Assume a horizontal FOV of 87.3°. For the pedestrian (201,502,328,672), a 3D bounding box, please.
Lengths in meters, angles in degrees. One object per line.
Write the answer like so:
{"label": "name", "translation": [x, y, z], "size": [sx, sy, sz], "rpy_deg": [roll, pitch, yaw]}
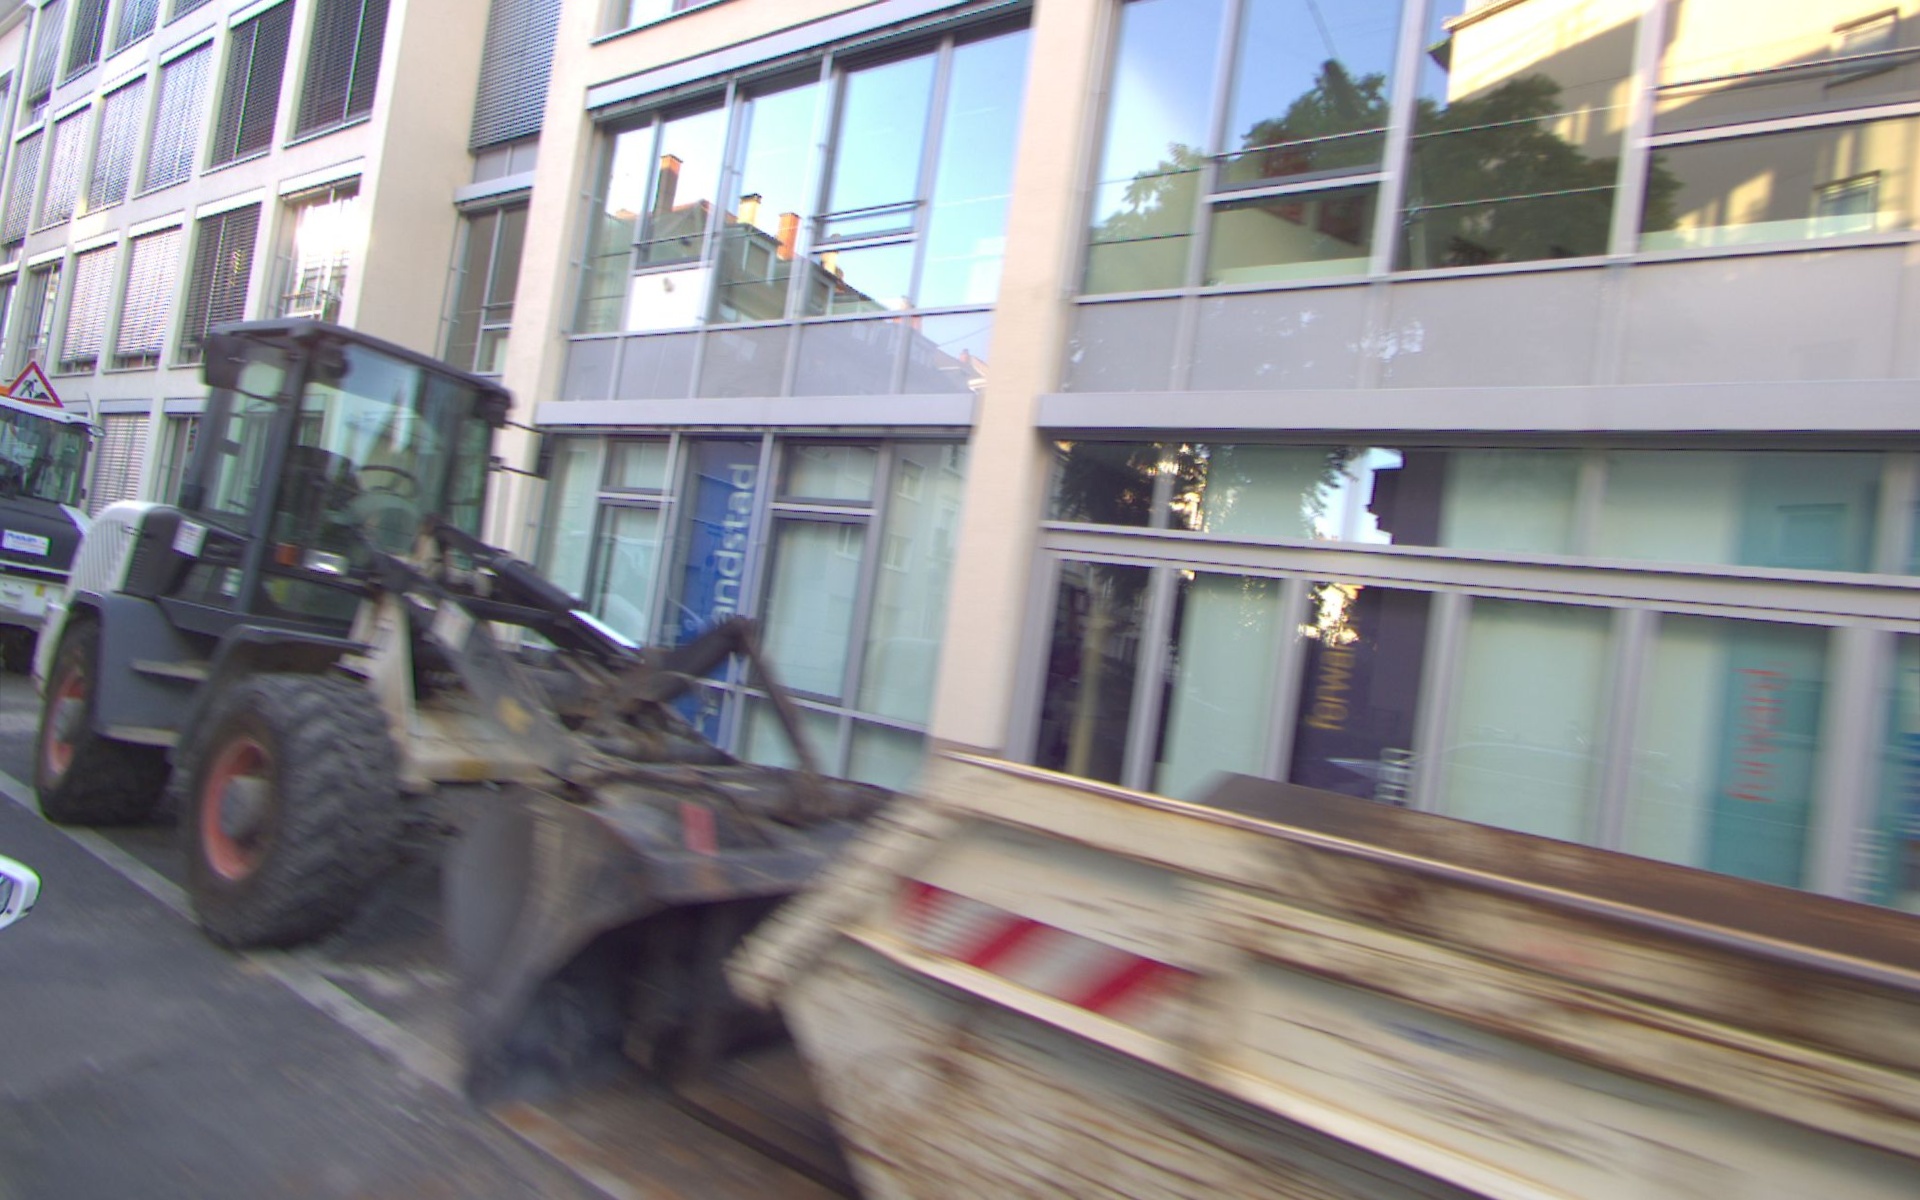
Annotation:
{"label": "pedestrian", "translation": [-8.133, -0.144, 11.777], "size": [0.710, 1.840, 0.806], "rpy_deg": [7, -1, 33]}

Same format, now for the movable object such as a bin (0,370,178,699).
{"label": "movable object such as a bin", "translation": [-10.356, -0.883, 10.068], "size": [5.658, 2.650, 2.022], "rpy_deg": [8, -4, 34]}

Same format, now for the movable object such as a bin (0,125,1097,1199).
{"label": "movable object such as a bin", "translation": [-2.518, 0.053, 4.770], "size": [5.659, 2.649, 2.022], "rpy_deg": [7, -5, 34]}
